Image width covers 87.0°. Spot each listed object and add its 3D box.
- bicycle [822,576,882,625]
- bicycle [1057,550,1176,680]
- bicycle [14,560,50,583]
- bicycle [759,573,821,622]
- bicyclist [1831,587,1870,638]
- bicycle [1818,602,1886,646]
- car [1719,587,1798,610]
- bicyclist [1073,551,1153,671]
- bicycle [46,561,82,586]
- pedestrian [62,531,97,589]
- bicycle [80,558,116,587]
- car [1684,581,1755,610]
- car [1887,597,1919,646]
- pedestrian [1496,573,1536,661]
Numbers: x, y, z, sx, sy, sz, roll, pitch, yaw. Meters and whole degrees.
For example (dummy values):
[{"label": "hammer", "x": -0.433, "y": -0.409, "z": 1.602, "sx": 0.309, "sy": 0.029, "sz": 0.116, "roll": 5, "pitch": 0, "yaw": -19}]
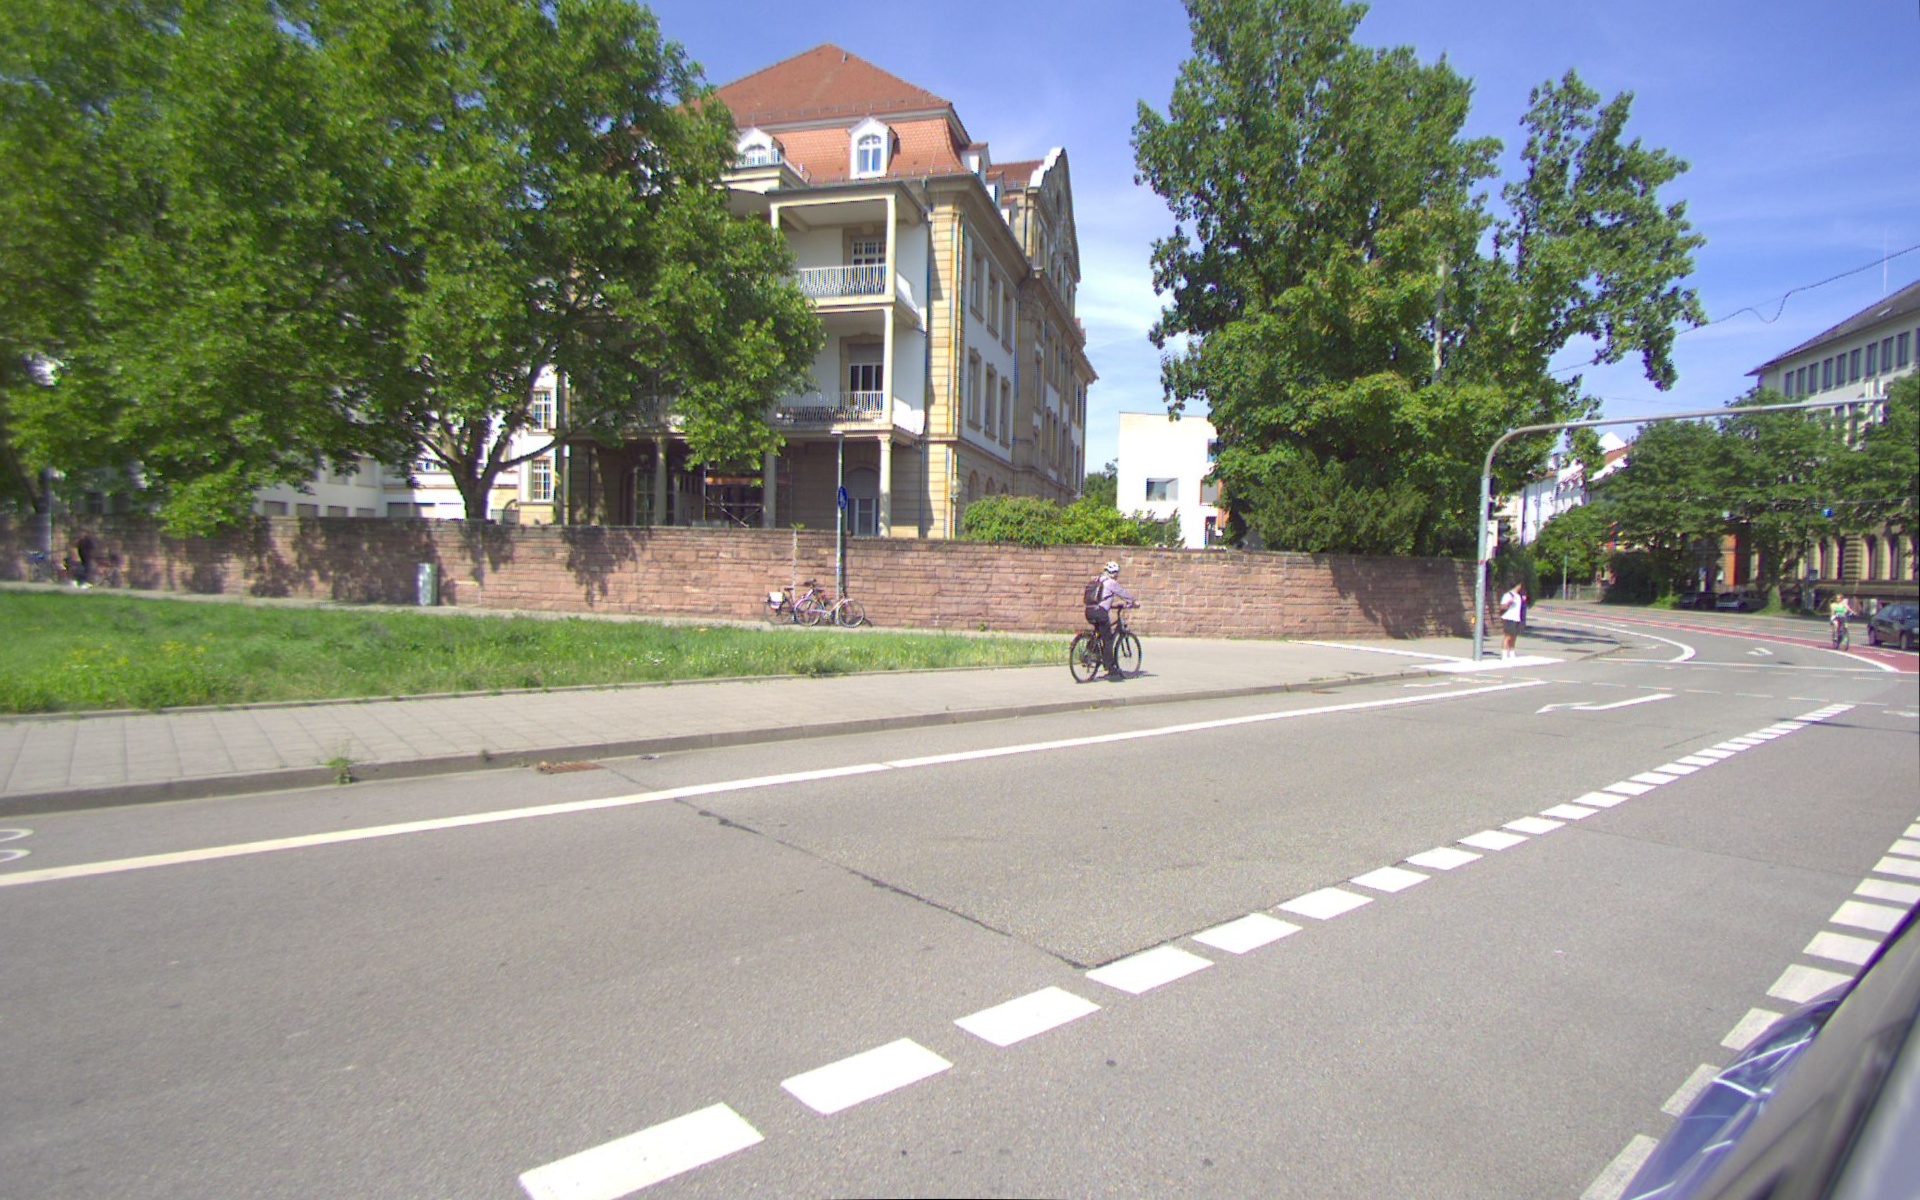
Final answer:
[{"label": "bicycle", "x": -2.612, "y": 0.017, "z": 24.505, "sx": 1.406, "sy": 1.136, "sz": 0.350, "roll": 2, "pitch": 2, "yaw": -6}, {"label": "bicycle", "x": 2.298, "y": 0.201, "z": 14.783, "sx": 1.779, "sy": 1.787, "sz": 0.679, "roll": 0, "pitch": 2, "yaw": -41}, {"label": "bicycle", "x": -30.639, "y": -0.942, "z": 33.405, "sx": 1.350, "sy": 0.737, "sz": 0.338, "roll": 3, "pitch": 2, "yaw": 23}, {"label": "bicycle", "x": -4.092, "y": -0.058, "z": 24.418, "sx": 1.406, "sy": 1.136, "sz": 0.350, "roll": 1, "pitch": 2, "yaw": -27}, {"label": "bicyclist", "x": 27.774, "y": 0.386, "z": 31.572, "sx": 0.580, "sy": 1.567, "sz": 0.926, "roll": 0, "pitch": 1, "yaw": 17}, {"label": "bicycle", "x": 27.779, "y": 0.714, "z": 31.569, "sx": 0.677, "sy": 1.237, "sz": 2.175, "roll": 2, "pitch": 2, "yaw": 16}, {"label": "car", "x": 58.447, "y": -0.108, "z": 74.137, "sx": 3.941, "sy": 1.482, "sz": 1.992, "roll": 2, "pitch": 2, "yaw": 14}, {"label": "bicyclist", "x": 2.229, "y": 0.148, "z": 14.734, "sx": 0.902, "sy": 1.676, "sz": 0.679, "roll": 0, "pitch": 2, "yaw": -41}, {"label": "bicycle", "x": -29.088, "y": -0.862, "z": 32.842, "sx": 1.350, "sy": 0.737, "sz": 0.338, "roll": 3, "pitch": 2, "yaw": 23}, {"label": "pedestrian", "x": -27.473, "y": -1.250, "z": 31.579, "sx": 0.592, "sy": 1.761, "sz": 0.616, "roll": 2, "pitch": 2, "yaw": 20}, {"label": "bicycle", "x": -27.558, "y": -0.879, "z": 32.341, "sx": 1.294, "sy": 0.866, "sz": 0.369, "roll": 3, "pitch": 2, "yaw": 25}, {"label": "car", "x": 59.757, "y": -0.384, "z": 79.684, "sx": 3.941, "sy": 2.038, "sz": 1.992, "roll": 2, "pitch": 2, "yaw": 14}, {"label": "car", "x": 30.376, "y": 0.653, "z": 31.385, "sx": 1.791, "sy": 1.393, "sz": 4.224, "roll": 1, "pitch": 1, "yaw": 35}, {"label": "pedestrian", "x": 12.516, "y": 0.363, "z": 22.764, "sx": 0.649, "sy": 1.897, "sz": 0.788, "roll": 4, "pitch": 3, "yaw": 31}]
